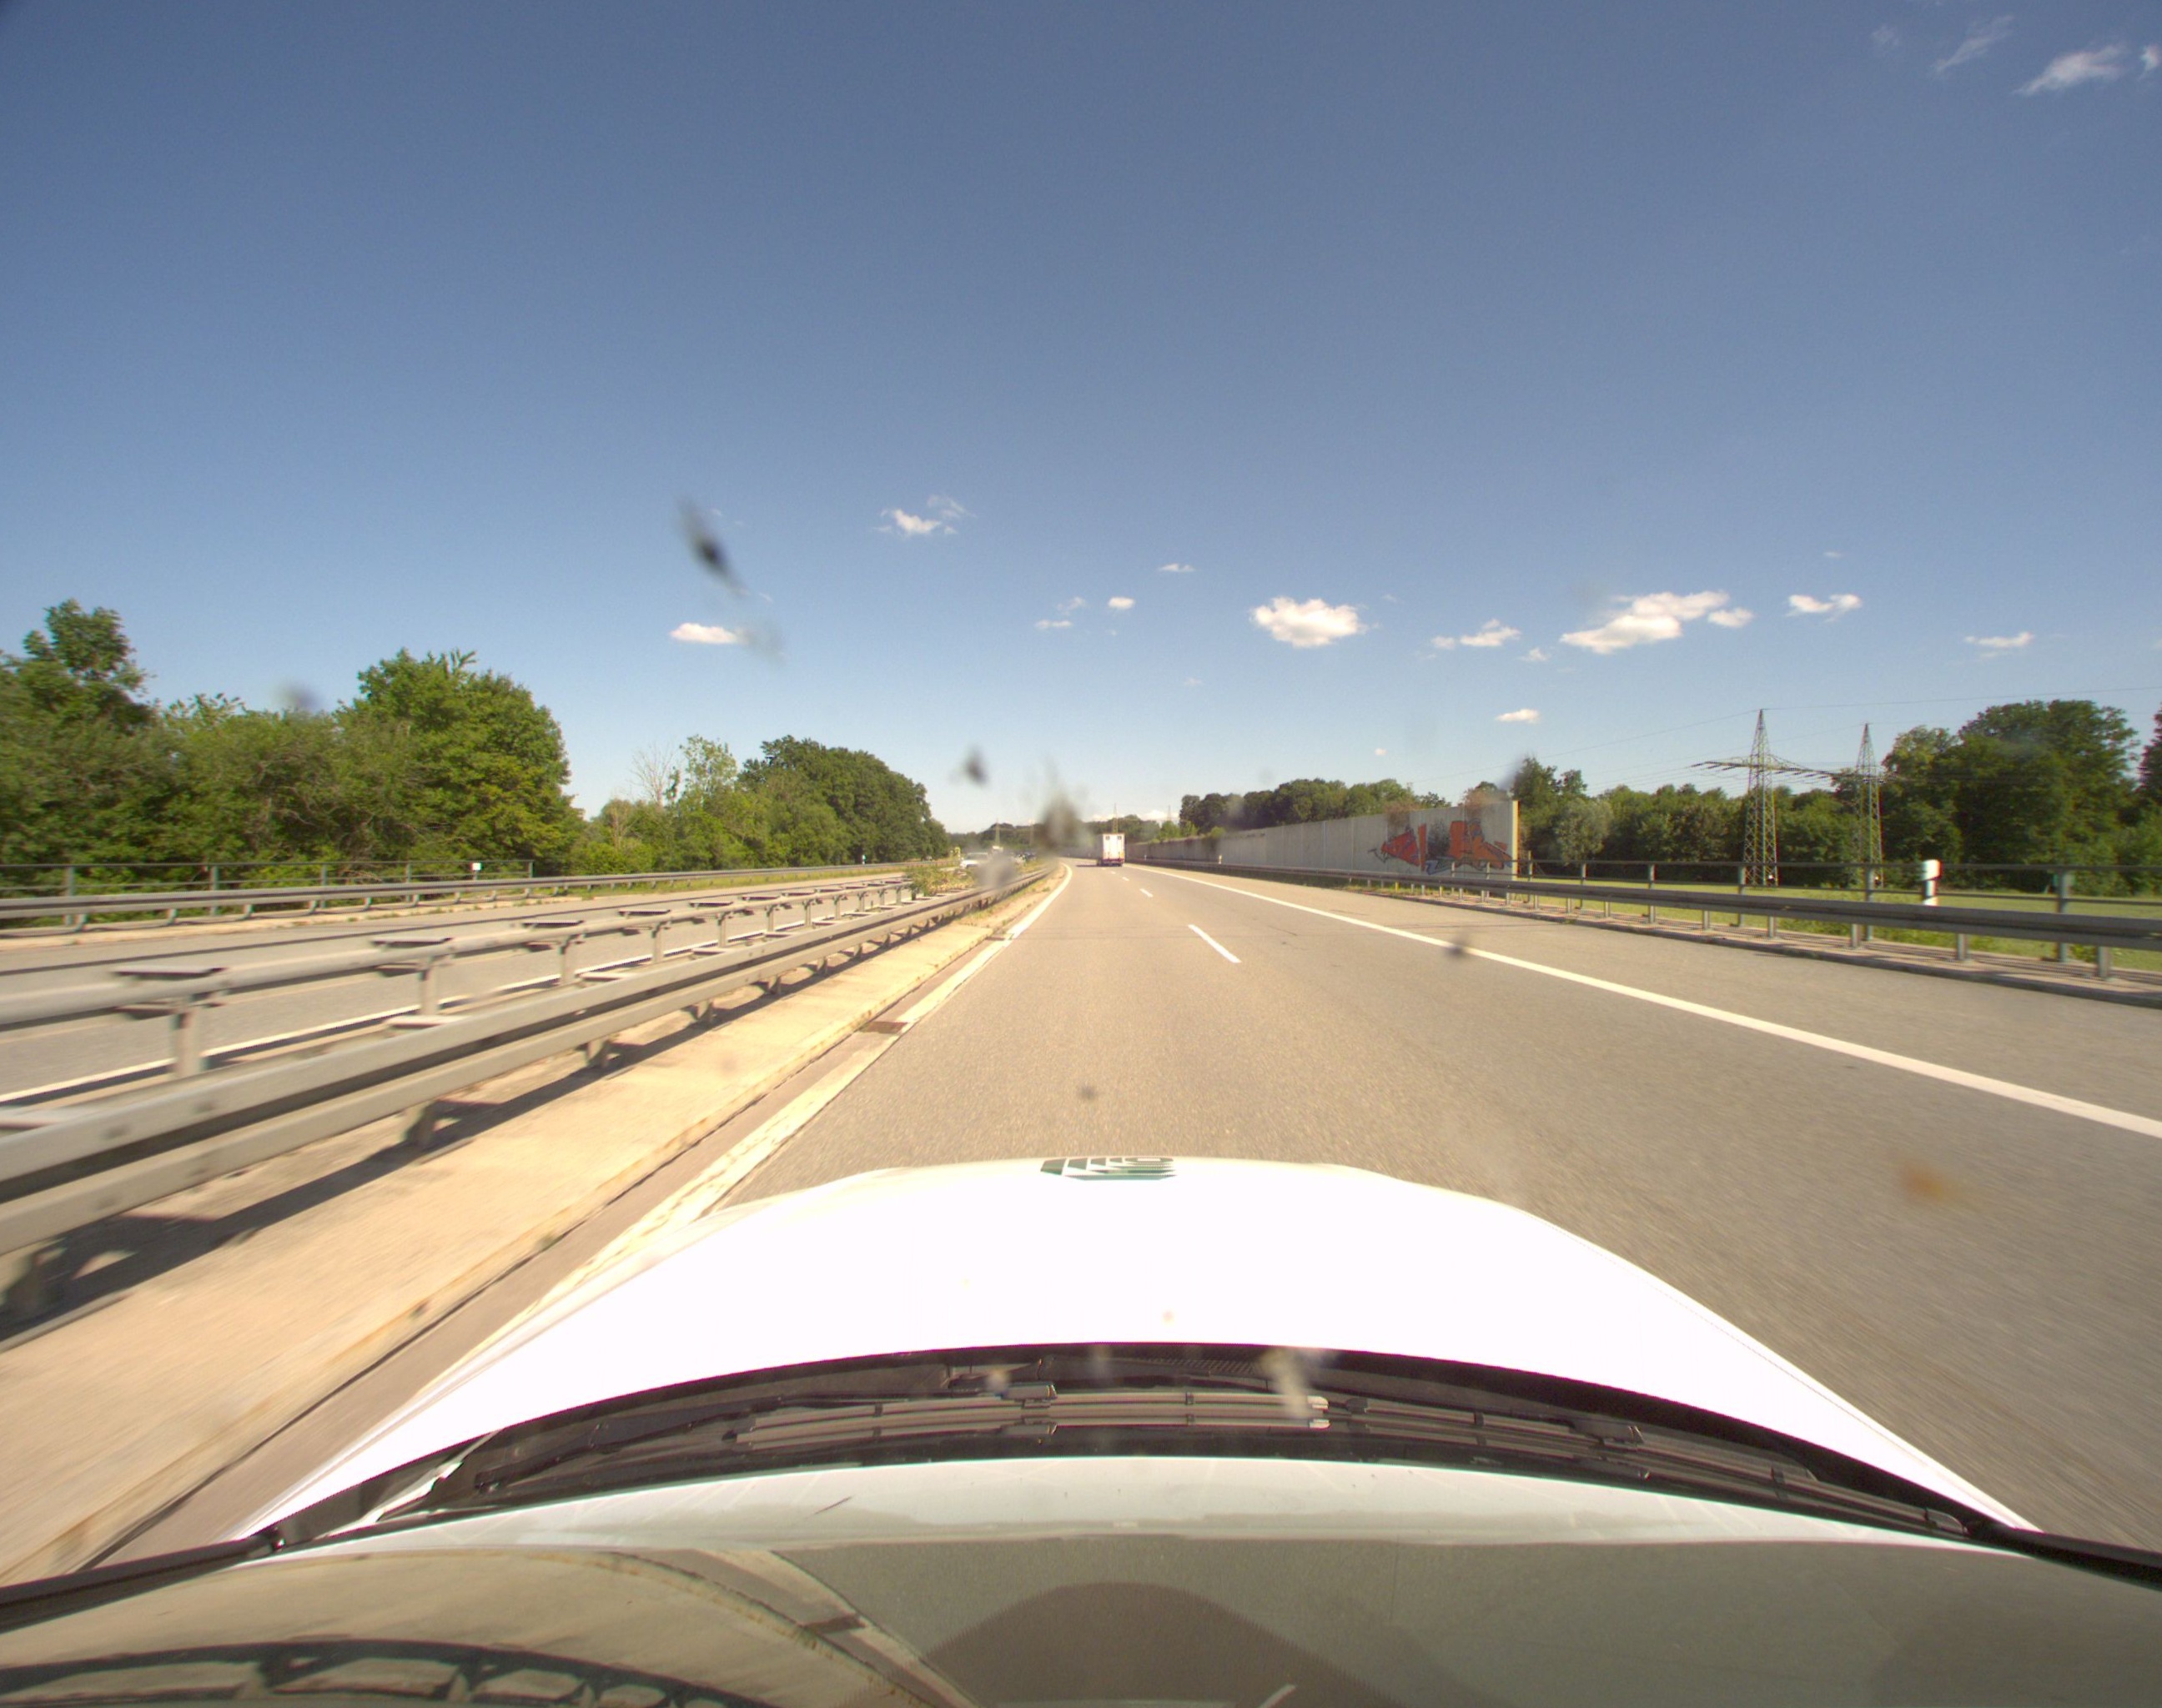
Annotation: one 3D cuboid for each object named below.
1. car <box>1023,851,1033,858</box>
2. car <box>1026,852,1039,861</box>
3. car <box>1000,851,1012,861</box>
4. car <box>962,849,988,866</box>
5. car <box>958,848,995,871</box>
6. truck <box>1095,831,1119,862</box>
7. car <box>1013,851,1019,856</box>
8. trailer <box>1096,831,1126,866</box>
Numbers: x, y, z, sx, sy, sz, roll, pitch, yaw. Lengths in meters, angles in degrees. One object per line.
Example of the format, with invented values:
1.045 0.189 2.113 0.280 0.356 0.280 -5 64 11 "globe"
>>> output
-11.665 0.158 178.368 1.926 1.505 4.790 -2 0 -2 "car"
-8.109 0.385 135.904 1.848 1.482 3.999 -1 0 -1 "car"
-12.934 0.361 140.831 1.850 1.634 4.487 -1 0 -4 "car"
-9.512 0.265 73.355 1.768 1.470 4.505 0 0 -1 "car"
-6.641 0.316 52.300 1.815 1.434 4.648 0 0 -1 "car"
3.428 -1.014 109.281 2.823 4.012 6.582 -1 0 -2 "truck"
-19.946 -0.230 250.674 1.658 1.450 4.235 -2 0 -8 "car"
3.657 -0.651 102.582 2.877 4.066 12.411 -1 0 -2 "trailer"
